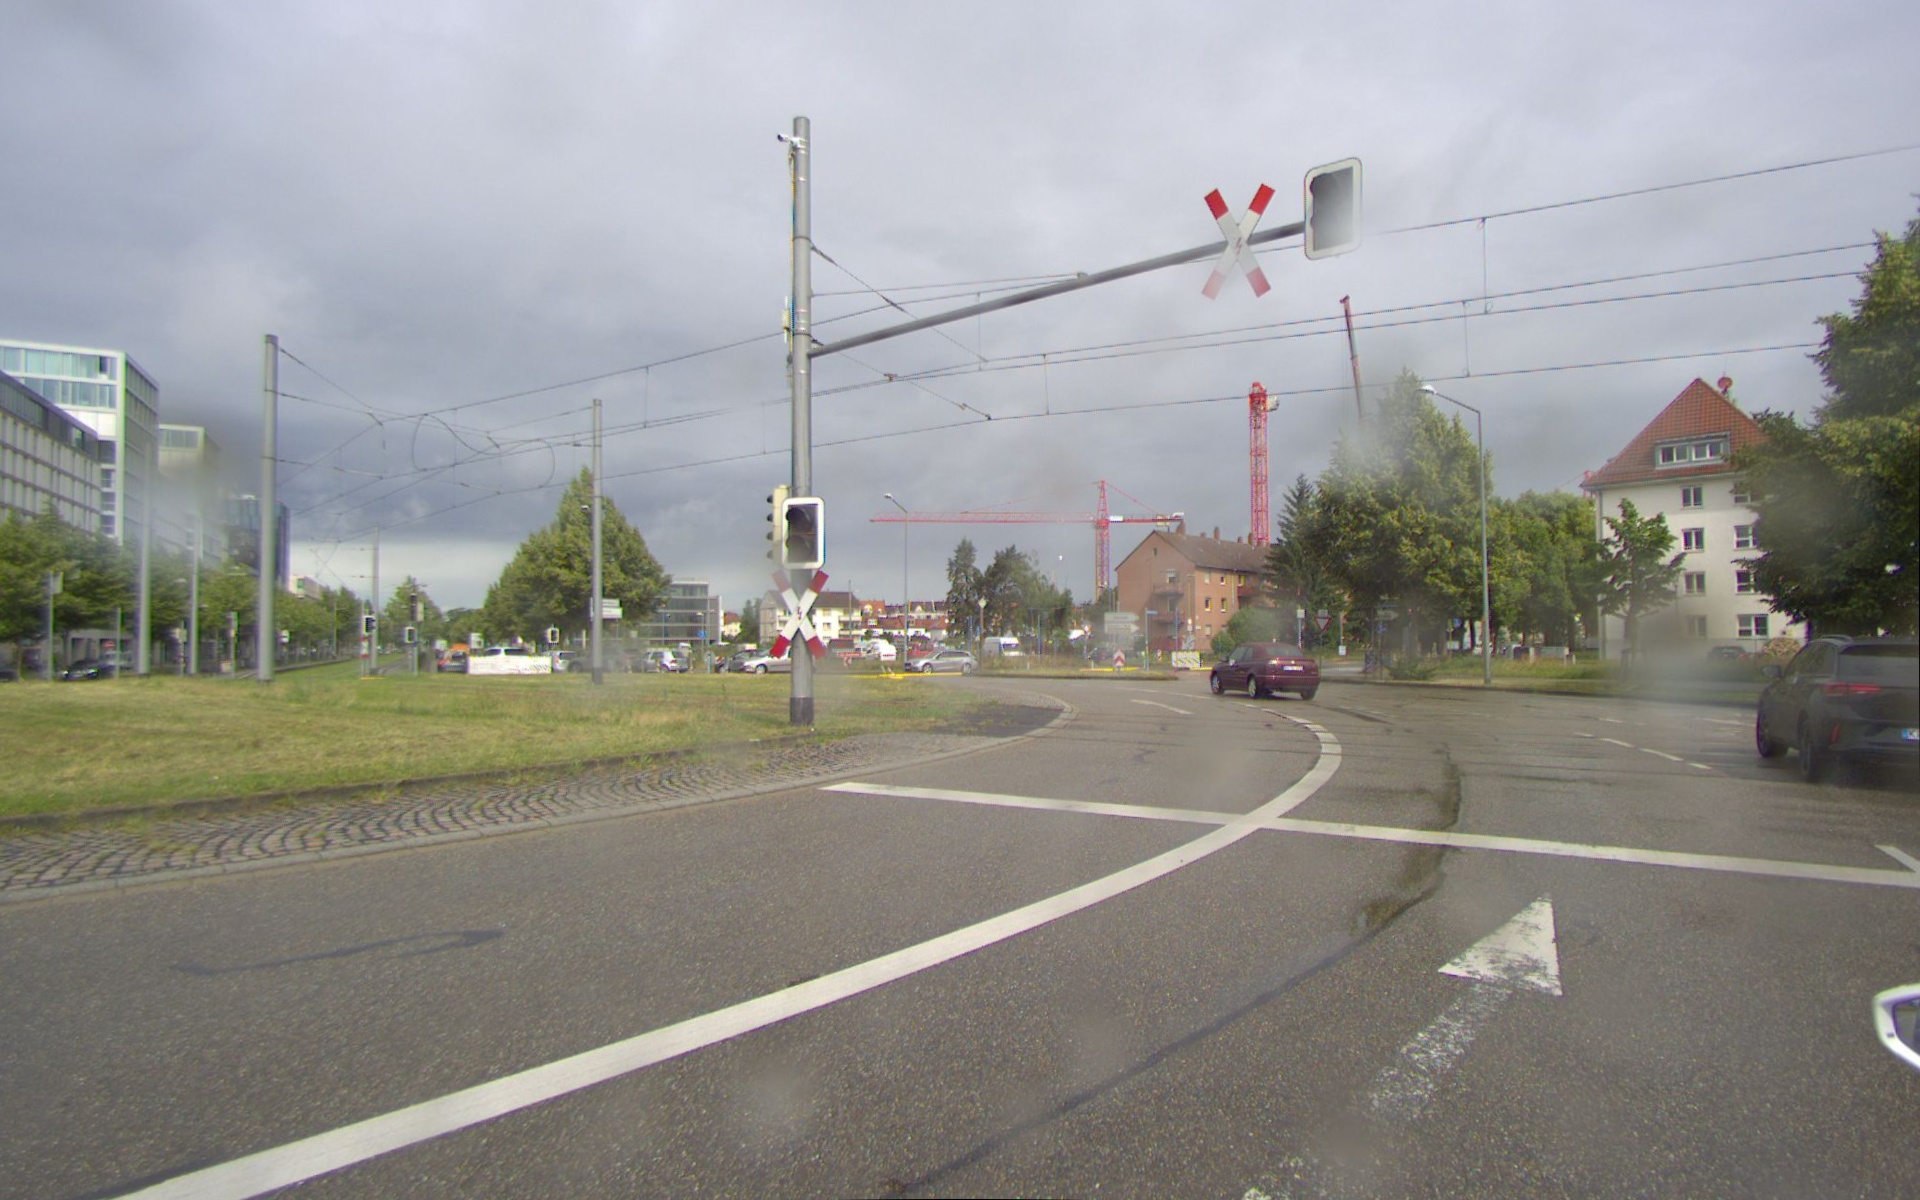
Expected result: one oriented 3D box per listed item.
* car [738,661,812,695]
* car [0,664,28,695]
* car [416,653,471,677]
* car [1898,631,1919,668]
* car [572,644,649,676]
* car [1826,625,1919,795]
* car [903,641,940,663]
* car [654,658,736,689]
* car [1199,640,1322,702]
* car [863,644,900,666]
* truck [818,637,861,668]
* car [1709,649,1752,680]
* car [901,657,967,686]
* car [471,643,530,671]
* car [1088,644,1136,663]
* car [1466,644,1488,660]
[{"bbox_3d":[-9.603,4.034,52.196,3.460,1.581,1.537,1,-2,-31],"label":"car"},{"bbox_3d":[-49.060,4.025,50.680,1.702,1.527,3.884,0,-3,-23],"label":"car"},{"bbox_3d":[-34.617,4.345,67.334,3.938,1.537,1.796,-3,-3,38],"label":"car"},{"bbox_3d":[45.466,2.299,47.170,1.825,1.572,4.085,-3,-1,41],"label":"car"},{"bbox_3d":[-18.452,3.168,53.031,3.605,1.581,1.574,-1,-2,18],"label":"car"},{"bbox_3d":[10.861,1.104,11.044,1.875,1.638,3.982,-4,-4,40],"label":"car"},{"bbox_3d":[-3.362,4.475,86.323,1.903,1.723,3.977,1,-1,-23],"label":"car"},{"bbox_3d":[-14.432,3.993,54.784,3.920,1.606,1.798,-1,-2,3],"label":"car"},{"bbox_3d":[7.913,1.844,26.832,1.688,1.481,3.997,-1,-3,-6],"label":"car"},{"bbox_3d":[-6.836,4.757,87.446,1.834,1.723,3.971,1,-1,-28],"label":"car"},{"bbox_3d":[-10.027,4.294,83.161,2.360,2.241,6.075,1,-1,-19],"label":"truck"},{"bbox_3d":[40.188,3.339,52.373,1.651,1.502,3.723,-2,-3,39],"label":"car"},{"bbox_3d":[-1.484,4.121,58.251,3.504,1.581,1.589,0,-2,-27],"label":"car"},{"bbox_3d":[-26.420,3.281,57.716,3.440,1.530,1.496,-2,-2,32],"label":"car"},{"bbox_3d":[13.619,4.816,90.209,3.991,1.654,1.612,0,-3,-16],"label":"car"},{"bbox_3d":[51.981,5.229,100.897,1.524,1.473,3.490,-3,-3,34],"label":"car"}]
